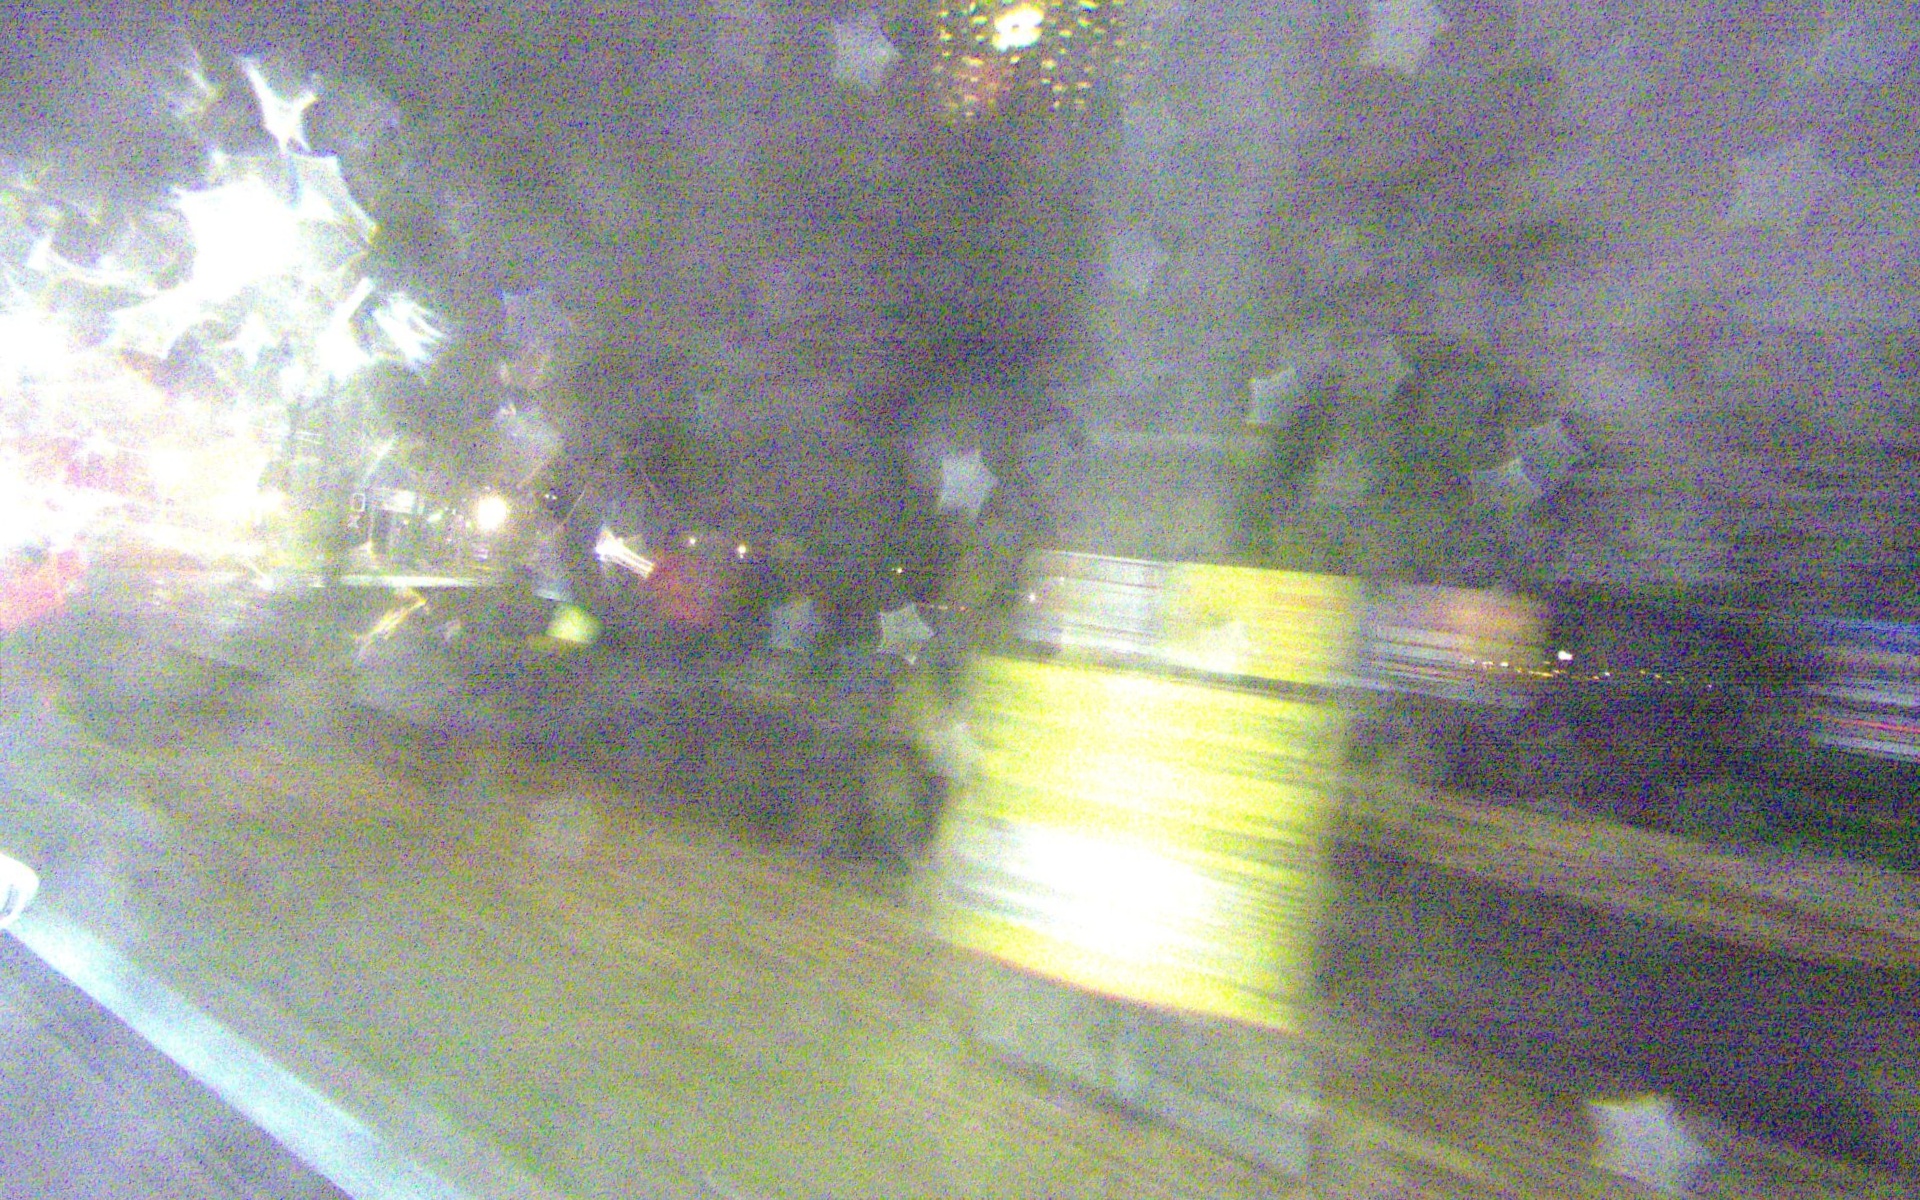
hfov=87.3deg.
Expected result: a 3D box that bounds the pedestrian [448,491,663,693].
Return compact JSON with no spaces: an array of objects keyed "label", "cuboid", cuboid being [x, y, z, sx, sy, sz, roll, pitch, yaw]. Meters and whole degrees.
[{"label":"pedestrian","cuboid":[-4.129,-0.064,10.311,1.465,1.815,1.229,7,-1,31]}]

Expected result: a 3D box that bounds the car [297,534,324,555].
[{"label":"car","cuboid":[-56.295,-4.792,87.242,1.704,1.514,3.881,8,-1,-30]}]

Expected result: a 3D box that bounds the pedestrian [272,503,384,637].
[{"label":"pedestrian","cuboid":[-7.752,-0.359,12.342,0.822,1.503,0.727,7,0,31]}]

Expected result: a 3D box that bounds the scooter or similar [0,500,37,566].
[{"label":"scooter or similar","cuboid":[-17.035,-1.222,17.677,1.092,1.111,0.315,6,1,-31]}]
